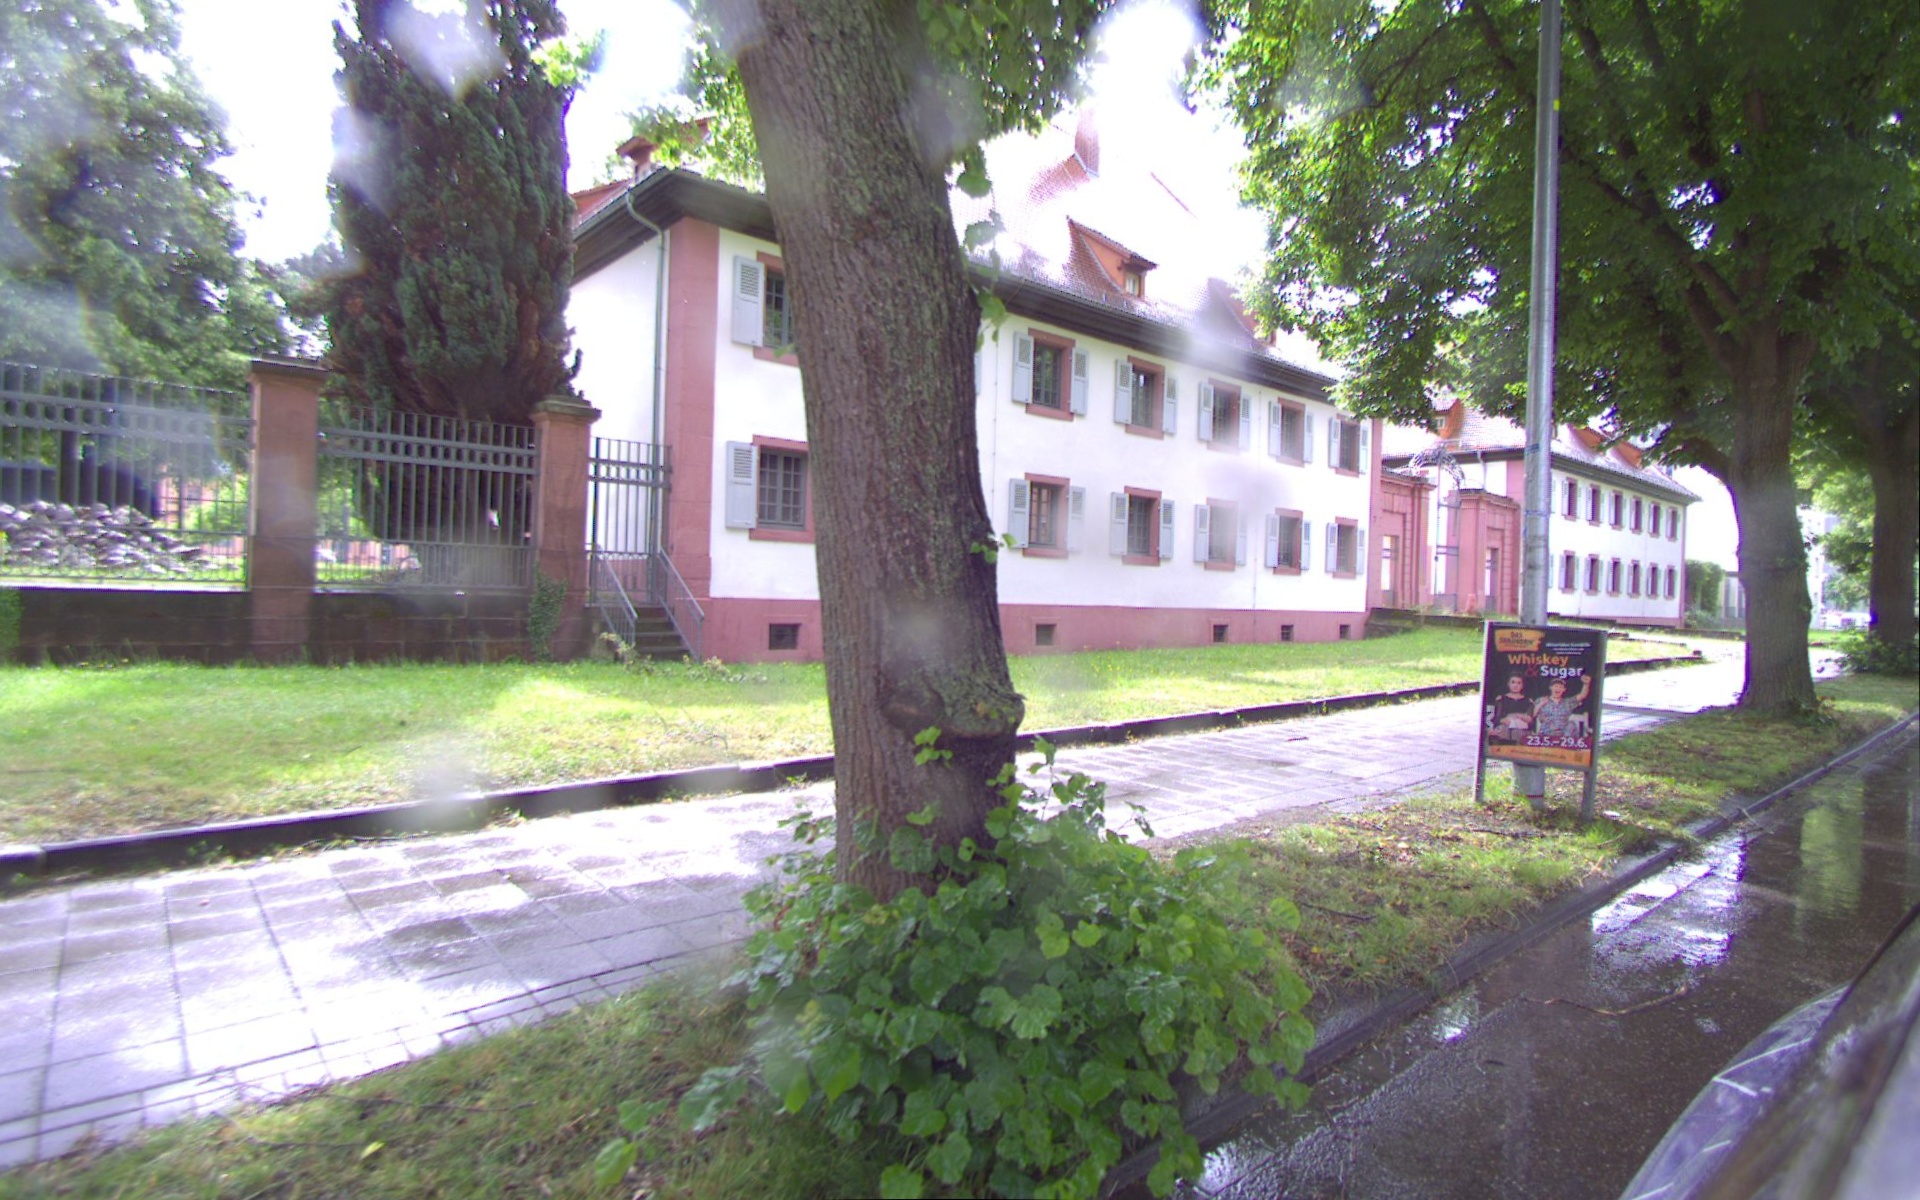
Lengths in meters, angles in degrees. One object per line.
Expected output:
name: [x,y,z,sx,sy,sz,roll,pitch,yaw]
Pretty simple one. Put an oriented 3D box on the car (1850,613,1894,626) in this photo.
car: [106.705,2.276,118.425,1.462,1.252,3.467,2,1,-20]
